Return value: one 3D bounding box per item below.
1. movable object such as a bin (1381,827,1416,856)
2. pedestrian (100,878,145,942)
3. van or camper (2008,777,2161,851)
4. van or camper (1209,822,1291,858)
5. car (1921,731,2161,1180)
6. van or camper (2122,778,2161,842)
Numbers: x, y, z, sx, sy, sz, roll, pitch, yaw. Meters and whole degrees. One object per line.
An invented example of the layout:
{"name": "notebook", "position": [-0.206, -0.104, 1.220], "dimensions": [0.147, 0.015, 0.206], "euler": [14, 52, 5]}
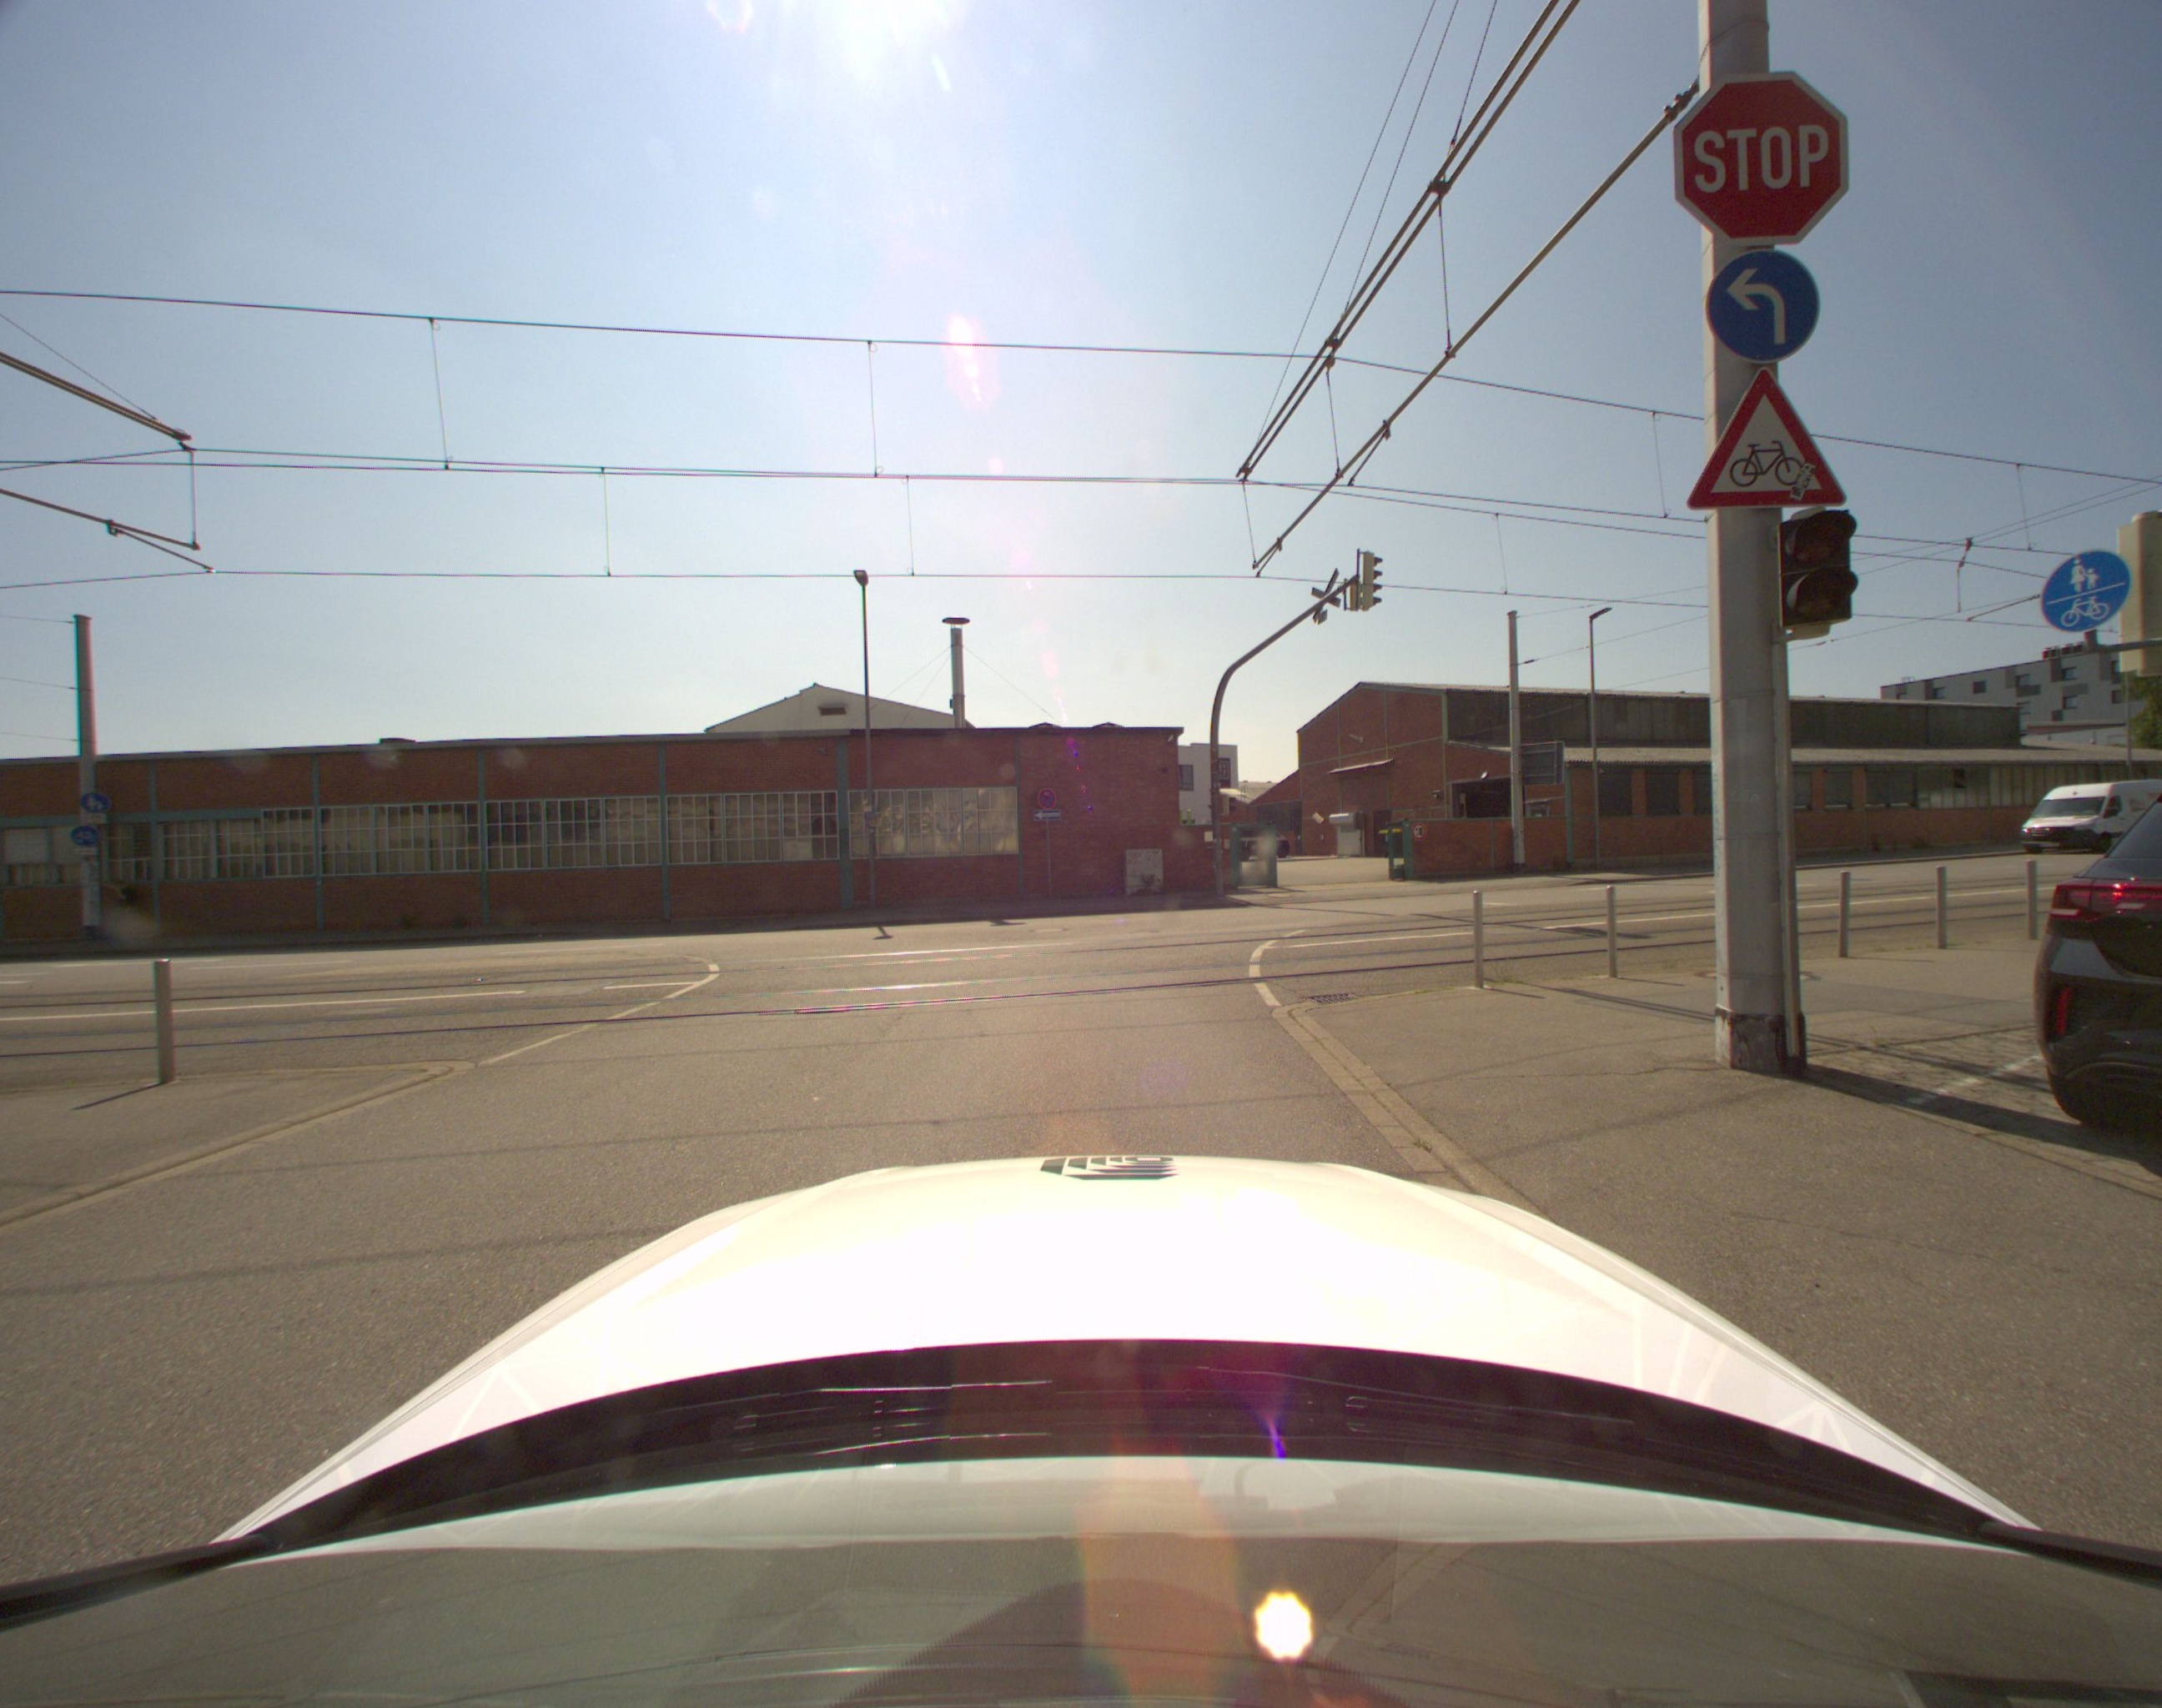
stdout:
{"name": "movable object such as a bin", "position": [14.801, -0.576, 37.949], "dimensions": [0.976, 1.314, 1.146], "euler": [-3, 1, -15]}
{"name": "pedestrian", "position": [-27.291, 1.570, 23.186], "dimensions": [0.445, 1.765, 0.688], "euler": [0, 0, 10]}
{"name": "van or camper", "position": [38.610, -1.531, 31.051], "dimensions": [5.864, 2.534, 2.033], "euler": [-3, 0, -17]}
{"name": "van or camper", "position": [9.544, -0.759, 45.808], "dimensions": [4.439, 1.900, 1.979], "euler": [0, 0, -34]}
{"name": "car", "position": [5.603, 0.259, 3.218], "dimensions": [3.978, 1.521, 1.866], "euler": [-3, 0, -23]}
{"name": "van or camper", "position": [45.711, -1.882, 33.246], "dimensions": [5.577, 2.534, 2.033], "euler": [-3, 0, -17]}
